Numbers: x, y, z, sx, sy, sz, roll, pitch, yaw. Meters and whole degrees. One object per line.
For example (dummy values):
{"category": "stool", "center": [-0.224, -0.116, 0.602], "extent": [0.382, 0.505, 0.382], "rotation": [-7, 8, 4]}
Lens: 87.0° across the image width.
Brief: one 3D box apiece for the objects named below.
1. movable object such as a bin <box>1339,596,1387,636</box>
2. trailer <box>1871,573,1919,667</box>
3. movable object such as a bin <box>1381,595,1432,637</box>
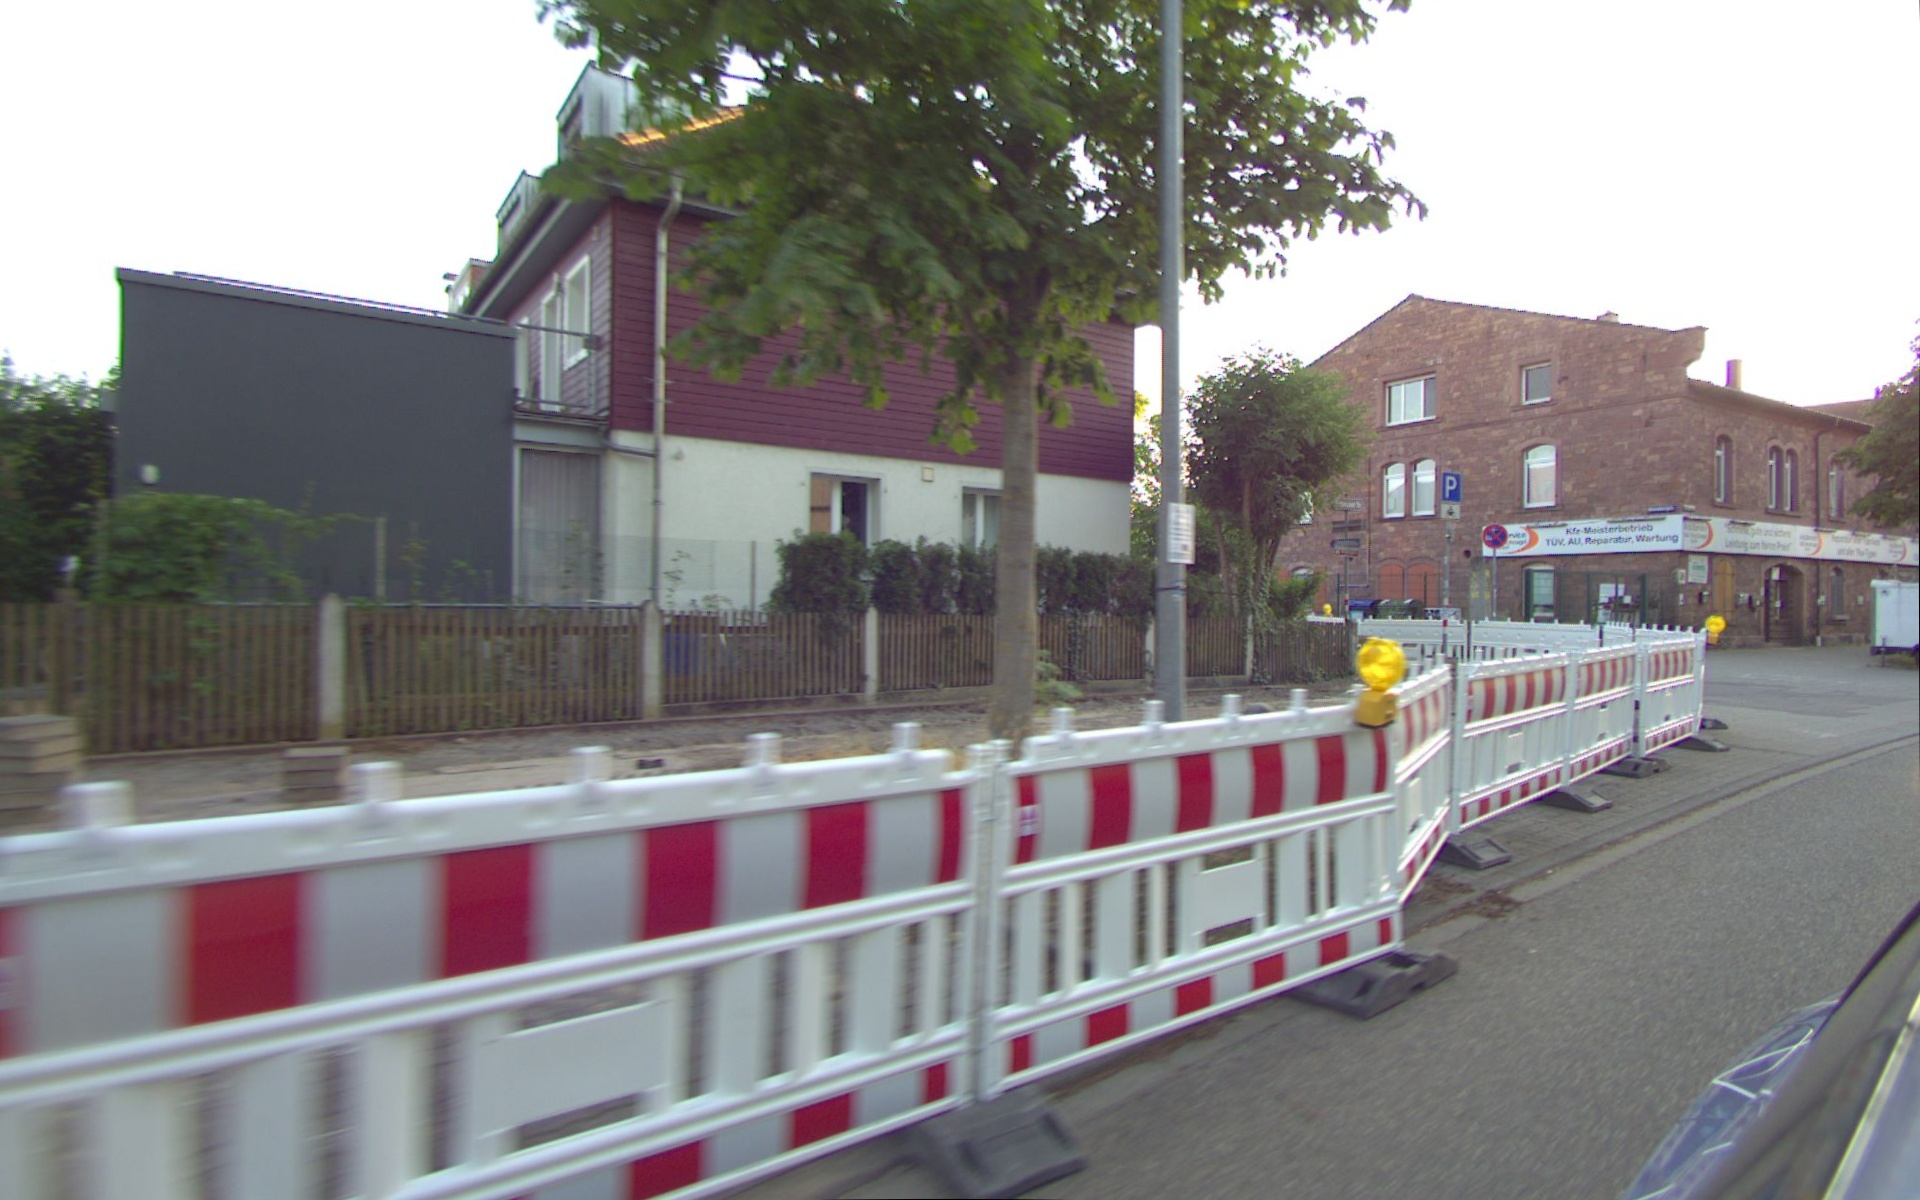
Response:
{"category": "movable object such as a bin", "center": [14.909, 0.589, 37.462], "extent": [1.038, 1.462, 1.291], "rotation": [0, -1, -30]}
{"category": "trailer", "center": [24.042, 0.469, 23.426], "extent": [1.960, 2.215, 4.003], "rotation": [0, -1, -31]}
{"category": "movable object such as a bin", "center": [15.839, 0.568, 35.885], "extent": [1.075, 1.462, 1.265], "rotation": [0, -1, -30]}
